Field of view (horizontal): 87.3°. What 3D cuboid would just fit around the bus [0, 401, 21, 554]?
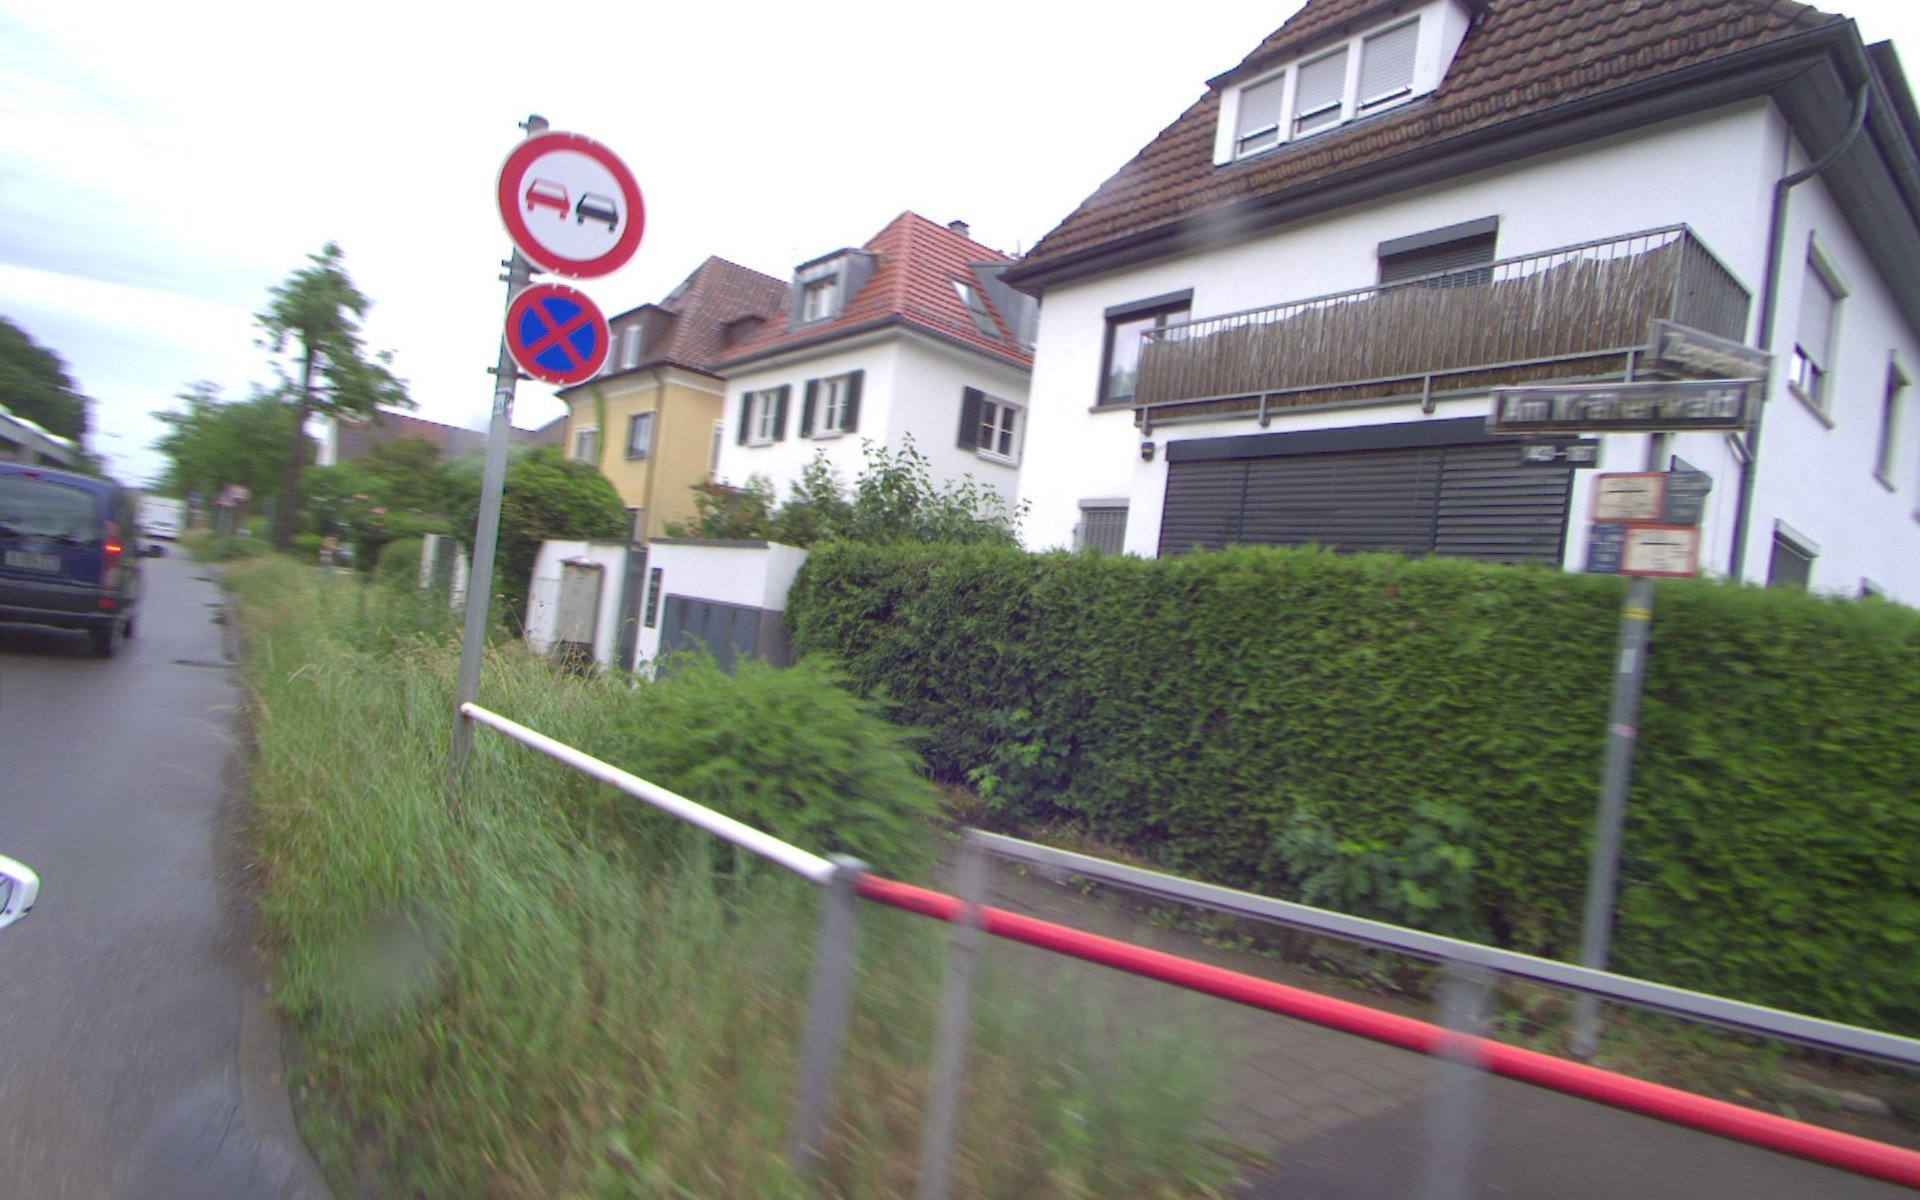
[{"bbox_3d":[-15.320,-1.755,13.564,2.632,3.079,9.137,9,-3,-37],"label":"bus"}]

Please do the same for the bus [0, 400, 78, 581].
[{"bbox_3d":[-20.513,-2.297,20.703,2.583,3.193,8.549,9,-3,-37],"label":"bus"}]

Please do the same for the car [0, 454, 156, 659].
[{"bbox_3d":[-10.066,-0.525,10.977,1.801,1.818,3.959,8,-2,-38],"label":"car"}]

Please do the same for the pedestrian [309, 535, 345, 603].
[{"bbox_3d":[-15.047,-0.733,23.921,0.480,1.551,0.434,9,-2,-41],"label":"pedestrian"}]

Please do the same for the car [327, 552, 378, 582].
[{"bbox_3d":[-31.592,-1.717,52.276,1.823,1.189,3.962,10,-3,-36],"label":"car"}]
